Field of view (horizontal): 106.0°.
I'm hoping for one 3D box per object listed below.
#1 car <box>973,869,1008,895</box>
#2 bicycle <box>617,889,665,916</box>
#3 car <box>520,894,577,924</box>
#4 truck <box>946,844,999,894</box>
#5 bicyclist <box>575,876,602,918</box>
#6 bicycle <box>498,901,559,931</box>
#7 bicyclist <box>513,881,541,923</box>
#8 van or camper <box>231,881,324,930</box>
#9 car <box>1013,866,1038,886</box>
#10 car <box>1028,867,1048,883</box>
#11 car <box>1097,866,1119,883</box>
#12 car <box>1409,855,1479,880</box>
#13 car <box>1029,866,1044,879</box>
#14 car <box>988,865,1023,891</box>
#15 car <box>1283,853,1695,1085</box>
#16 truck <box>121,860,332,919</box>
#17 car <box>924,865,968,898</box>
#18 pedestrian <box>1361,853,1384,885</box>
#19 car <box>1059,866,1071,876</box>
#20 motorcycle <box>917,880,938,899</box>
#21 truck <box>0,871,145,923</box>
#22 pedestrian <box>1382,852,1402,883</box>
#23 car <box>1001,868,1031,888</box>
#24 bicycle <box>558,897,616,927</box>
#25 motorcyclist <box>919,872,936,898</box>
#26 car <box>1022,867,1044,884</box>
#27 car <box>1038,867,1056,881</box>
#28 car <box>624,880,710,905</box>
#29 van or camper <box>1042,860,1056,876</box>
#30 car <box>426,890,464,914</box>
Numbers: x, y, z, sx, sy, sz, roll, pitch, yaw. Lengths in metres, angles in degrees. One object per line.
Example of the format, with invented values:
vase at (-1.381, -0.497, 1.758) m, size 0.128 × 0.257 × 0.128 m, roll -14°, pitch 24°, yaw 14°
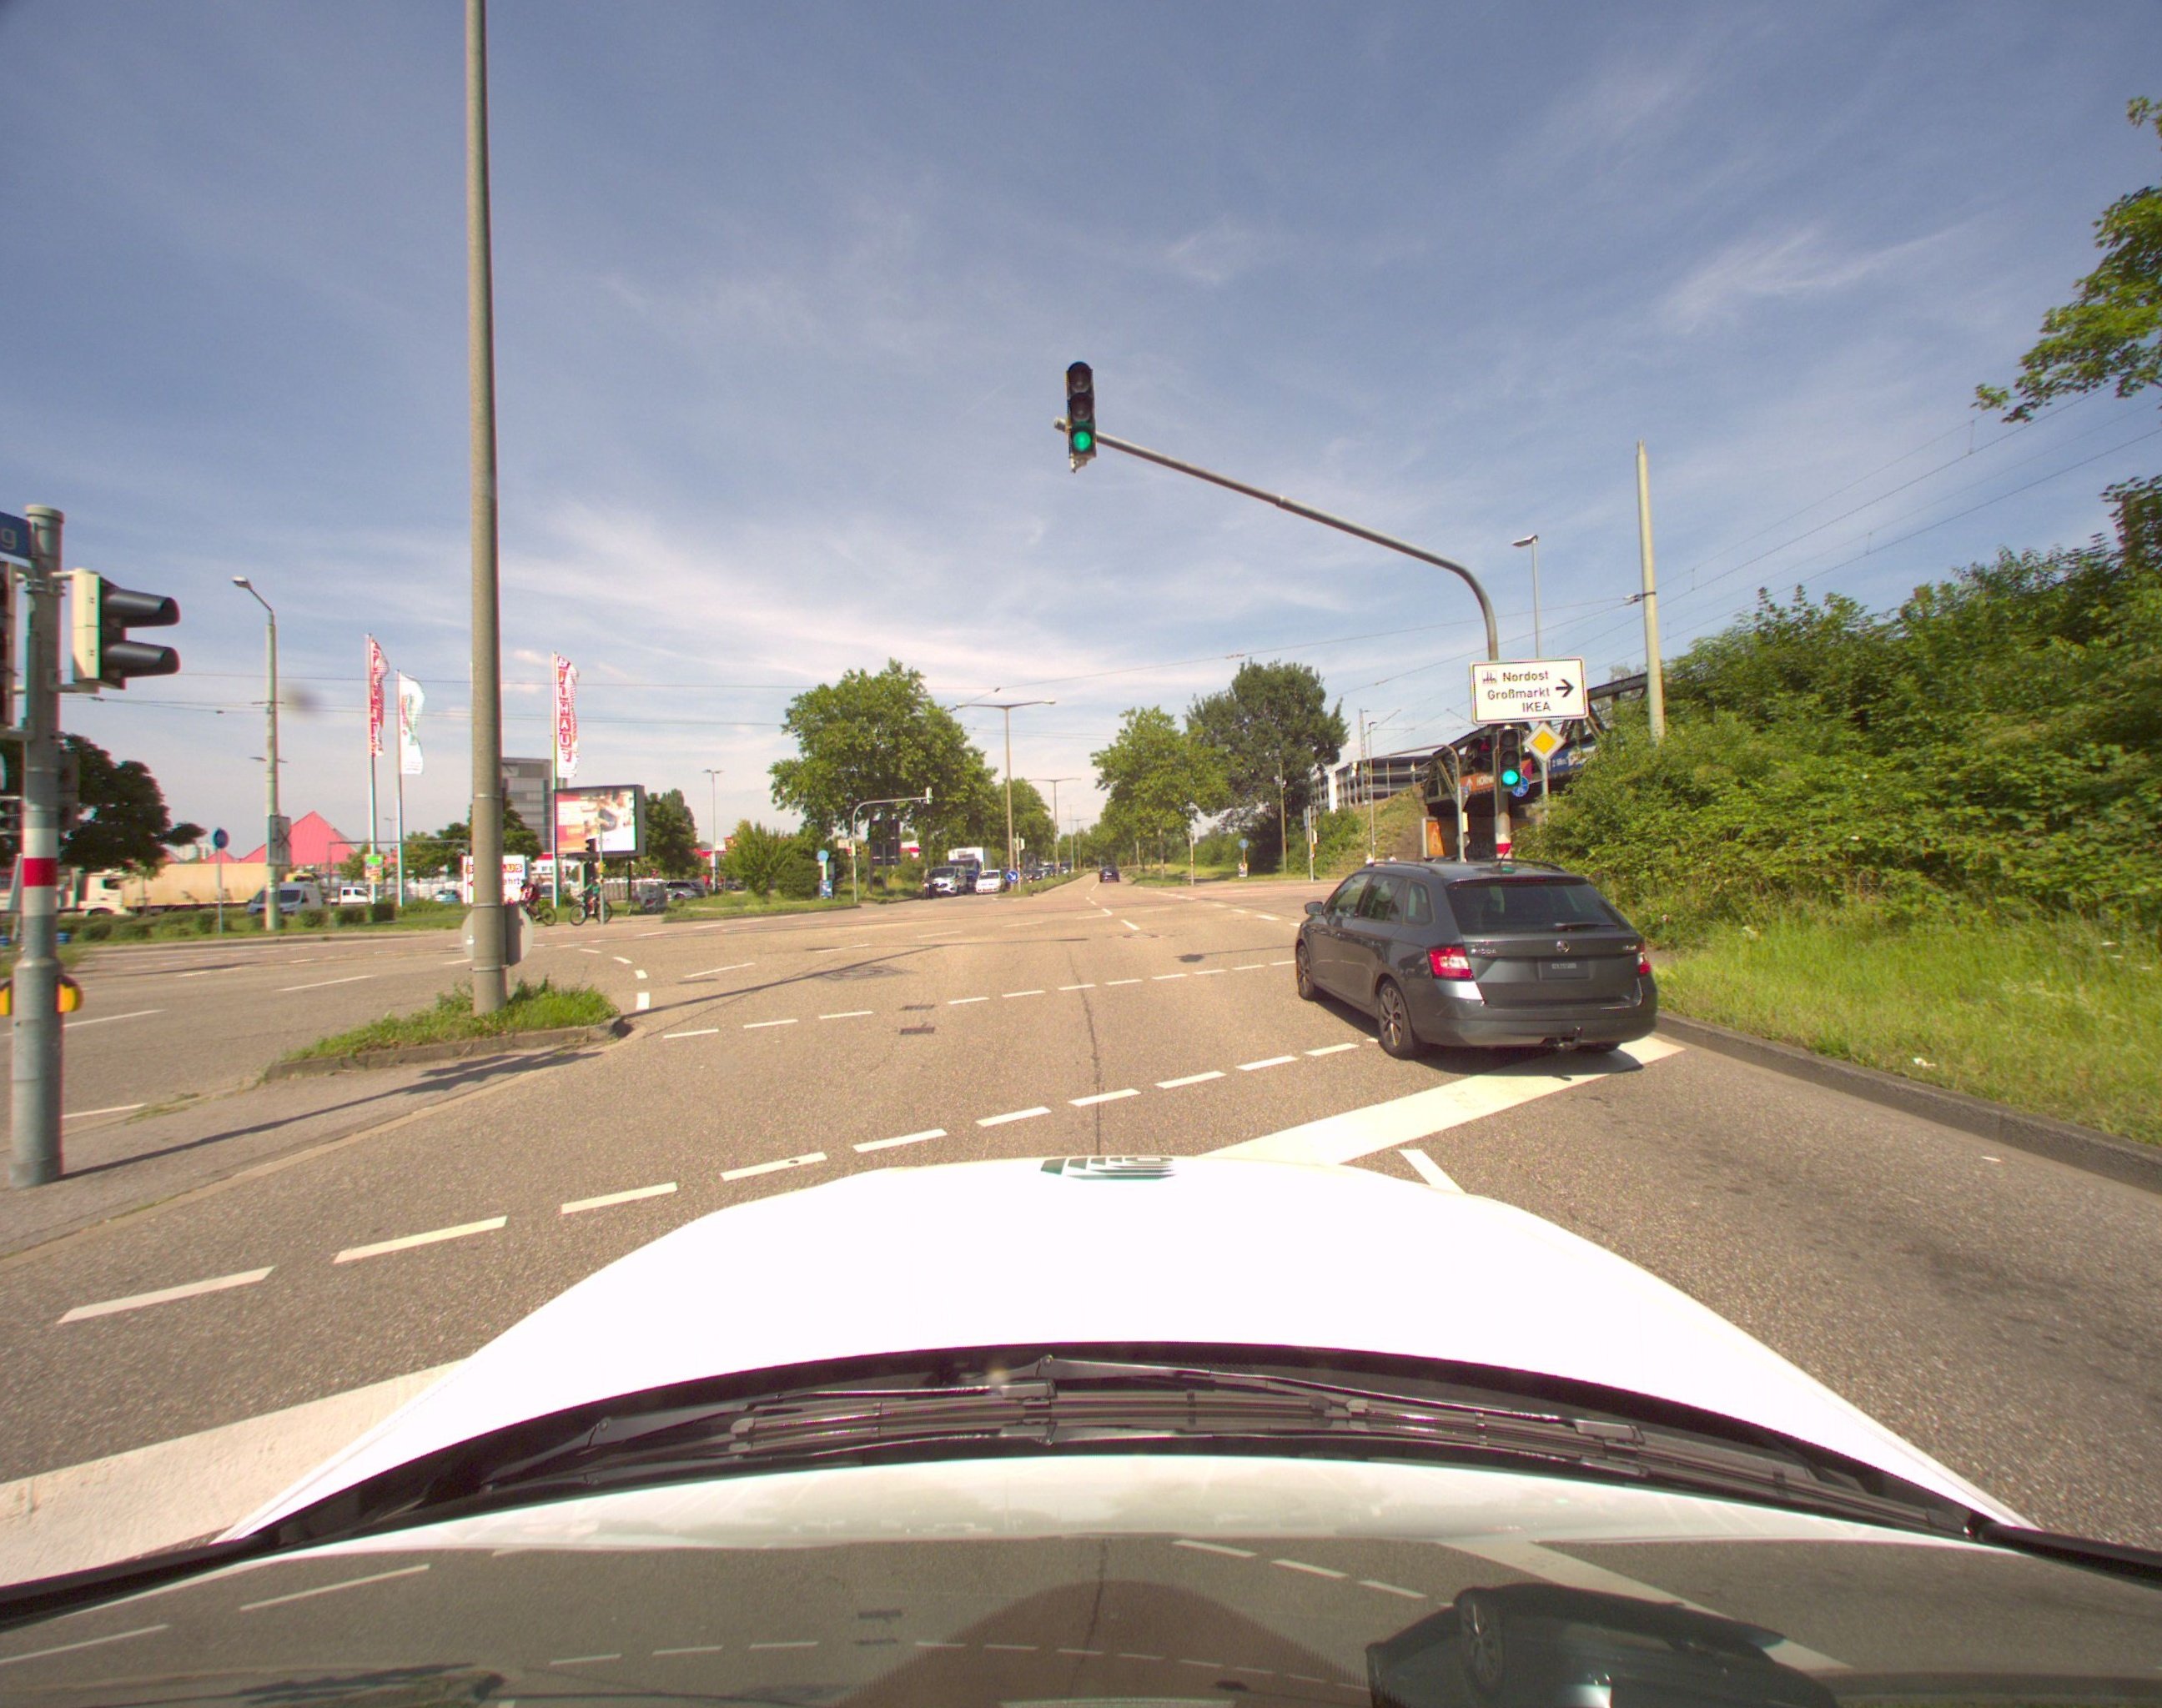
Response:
car at (-5.746, 1.754, 51.914) m, size 1.587 × 1.477 × 3.731 m, roll -3°, pitch -1°, yaw 2°
bicycle at (-18.719, 2.063, 34.673) m, size 0.590 × 1.037 × 1.903 m, roll -2°, pitch -1°, yaw 16°
car at (-31.590, 3.221, 48.227) m, size 2.212 × 1.572 × 4.522 m, roll -1°, pitch -1°, yaw -41°
truck at (-8.282, 1.096, 63.001) m, size 2.793 × 3.471 × 6.693 m, roll -4°, pitch 0°, yaw 2°
bicyclist at (-17.808, 1.557, 29.466) m, size 0.523 × 1.491 × 0.612 m, roll -2°, pitch -1°, yaw 17°
bicycle at (-19.134, 2.135, 28.238) m, size 0.430 × 0.937 × 1.761 m, roll -2°, pitch -1°, yaw 24°
bicyclist at (-19.203, 1.675, 28.232) m, size 0.523 × 1.414 × 0.613 m, roll -2°, pitch -1°, yaw 24°
van or camper at (-40.958, 2.564, 41.668) m, size 2.204 × 2.210 × 5.462 m, roll -1°, pitch -1°, yaw -32°
car at (-4.811, 1.927, 71.227) m, size 1.682 × 1.586 × 4.242 m, roll -3°, pitch -1°, yaw 2°
car at (-4.392, 2.157, 84.200) m, size 1.682 × 1.472 × 3.816 m, roll -3°, pitch -1°, yaw 2°
car at (2.504, 1.875, 76.080) m, size 1.901 × 1.463 × 4.621 m, roll -2°, pitch -1°, yaw 1°
car at (23.130, 0.872, 51.862) m, size 4.520 × 1.409 × 1.978 m, roll -1°, pitch -1°, yaw -35°
car at (-6.498, 2.677, 118.273) m, size 1.682 × 1.858 × 4.038 m, roll -3°, pitch -1°, yaw 2°
car at (-5.295, 1.704, 57.760) m, size 1.813 × 1.647 × 4.695 m, roll -3°, pitch -2°, yaw 2°
car at (3.096, 0.749, 7.199) m, size 1.668 × 1.453 × 4.036 m, roll -1°, pitch -1°, yaw 1°
truck at (-54.961, 2.211, 52.881) m, size 8.964 × 3.311 × 3.125 m, roll -2°, pitch -1°, yaw -36°
car at (-8.667, 1.723, 52.785) m, size 1.970 × 1.999 × 5.030 m, roll -2°, pitch -1°, yaw -1°
pedestrian at (15.154, 0.767, 42.313) m, size 0.864 × 1.612 × 0.778 m, roll -2°, pitch -1°, yaw 1°
car at (-2.560, 2.709, 131.025) m, size 1.682 × 1.510 × 3.816 m, roll -3°, pitch -1°, yaw 2°
motorcycle at (-8.939, 2.055, 47.572) m, size 0.685 × 0.991 × 2.218 m, roll -2°, pitch -1°, yaw 2°
truck at (-64.952, 2.675, 49.816) m, size 9.655 × 2.892 × 2.895 m, roll -2°, pitch -1°, yaw -35°
pedestrian at (16.287, 0.714, 42.669) m, size 0.726 × 1.579 × 0.778 m, roll -2°, pitch -1°, yaw 1°
car at (-5.146, 1.881, 64.665) m, size 1.790 × 1.468 × 4.525 m, roll -3°, pitch -1°, yaw 2°
bicycle at (-17.809, 2.067, 29.410) m, size 0.412 × 0.937 × 2.007 m, roll -2°, pitch -1°, yaw 19°
motorcyclist at (-8.976, 1.812, 47.671) m, size 0.740 × 1.470 × 0.988 m, roll -2°, pitch -1°, yaw 2°
car at (-4.608, 2.050, 78.566) m, size 1.682 × 1.473 × 4.220 m, roll -4°, pitch -1°, yaw 2°
car at (-4.029, 2.341, 96.894) m, size 1.778 × 1.489 × 4.211 m, roll -3°, pitch -1°, yaw 1°
car at (-27.666, 2.574, 54.573) m, size 4.555 × 1.414 × 2.196 m, roll -2°, pitch -1°, yaw -6°
van or camper at (-5.676, 2.454, 145.436) m, size 2.007 × 2.588 × 5.519 m, roll -3°, pitch -1°, yaw 2°
car at (-45.724, 3.442, 58.641) m, size 1.829 × 1.572 × 4.234 m, roll -1°, pitch -1°, yaw -34°
